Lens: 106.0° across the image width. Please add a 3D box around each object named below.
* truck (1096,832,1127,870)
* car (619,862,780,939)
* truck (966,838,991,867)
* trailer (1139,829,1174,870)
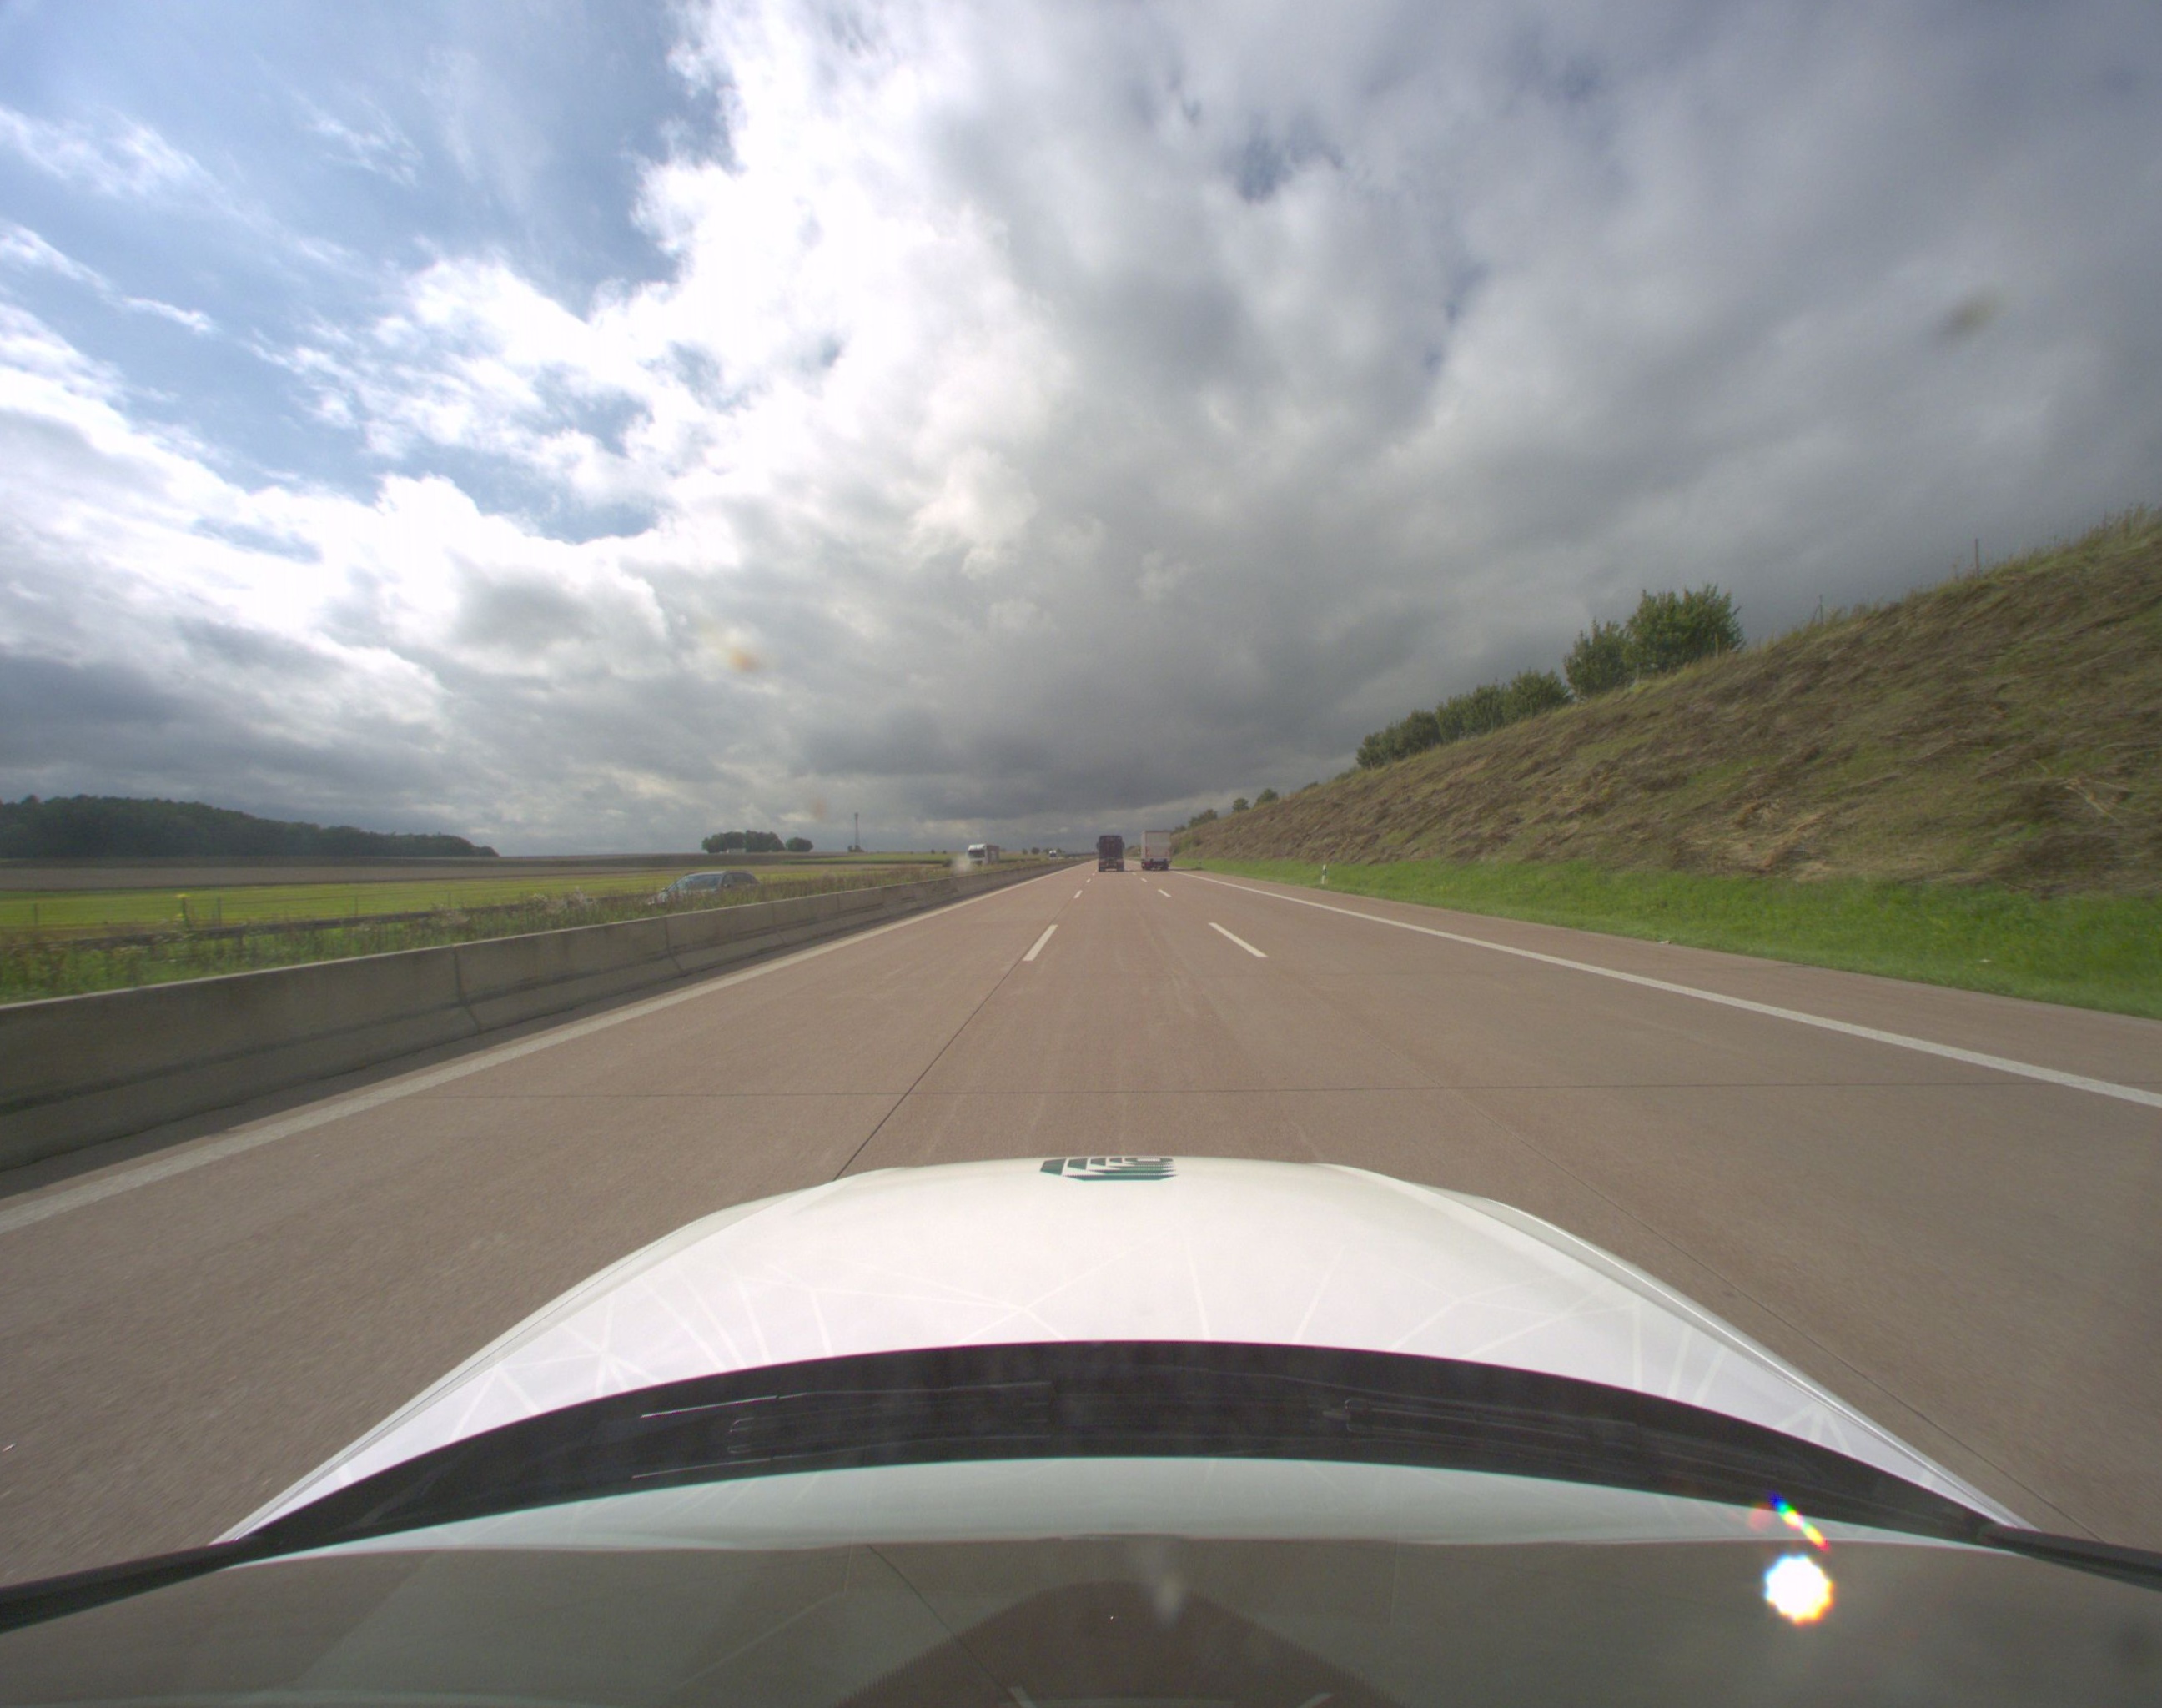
[{"bbox_3d":[2.975,-0.227,81.525,2.838,3.550,8.318,-1,-1,0],"label":"truck"},{"bbox_3d":[-10.754,1.227,23.527,1.986,1.846,5.276,-2,0,1],"label":"car"},{"bbox_3d":[-14.894,-0.185,118.634,2.760,3.959,5.291,-2,0,1],"label":"truck"},{"bbox_3d":[7.615,-0.396,83.241,2.739,4.012,8.669,-1,-1,0],"label":"trailer"}]
